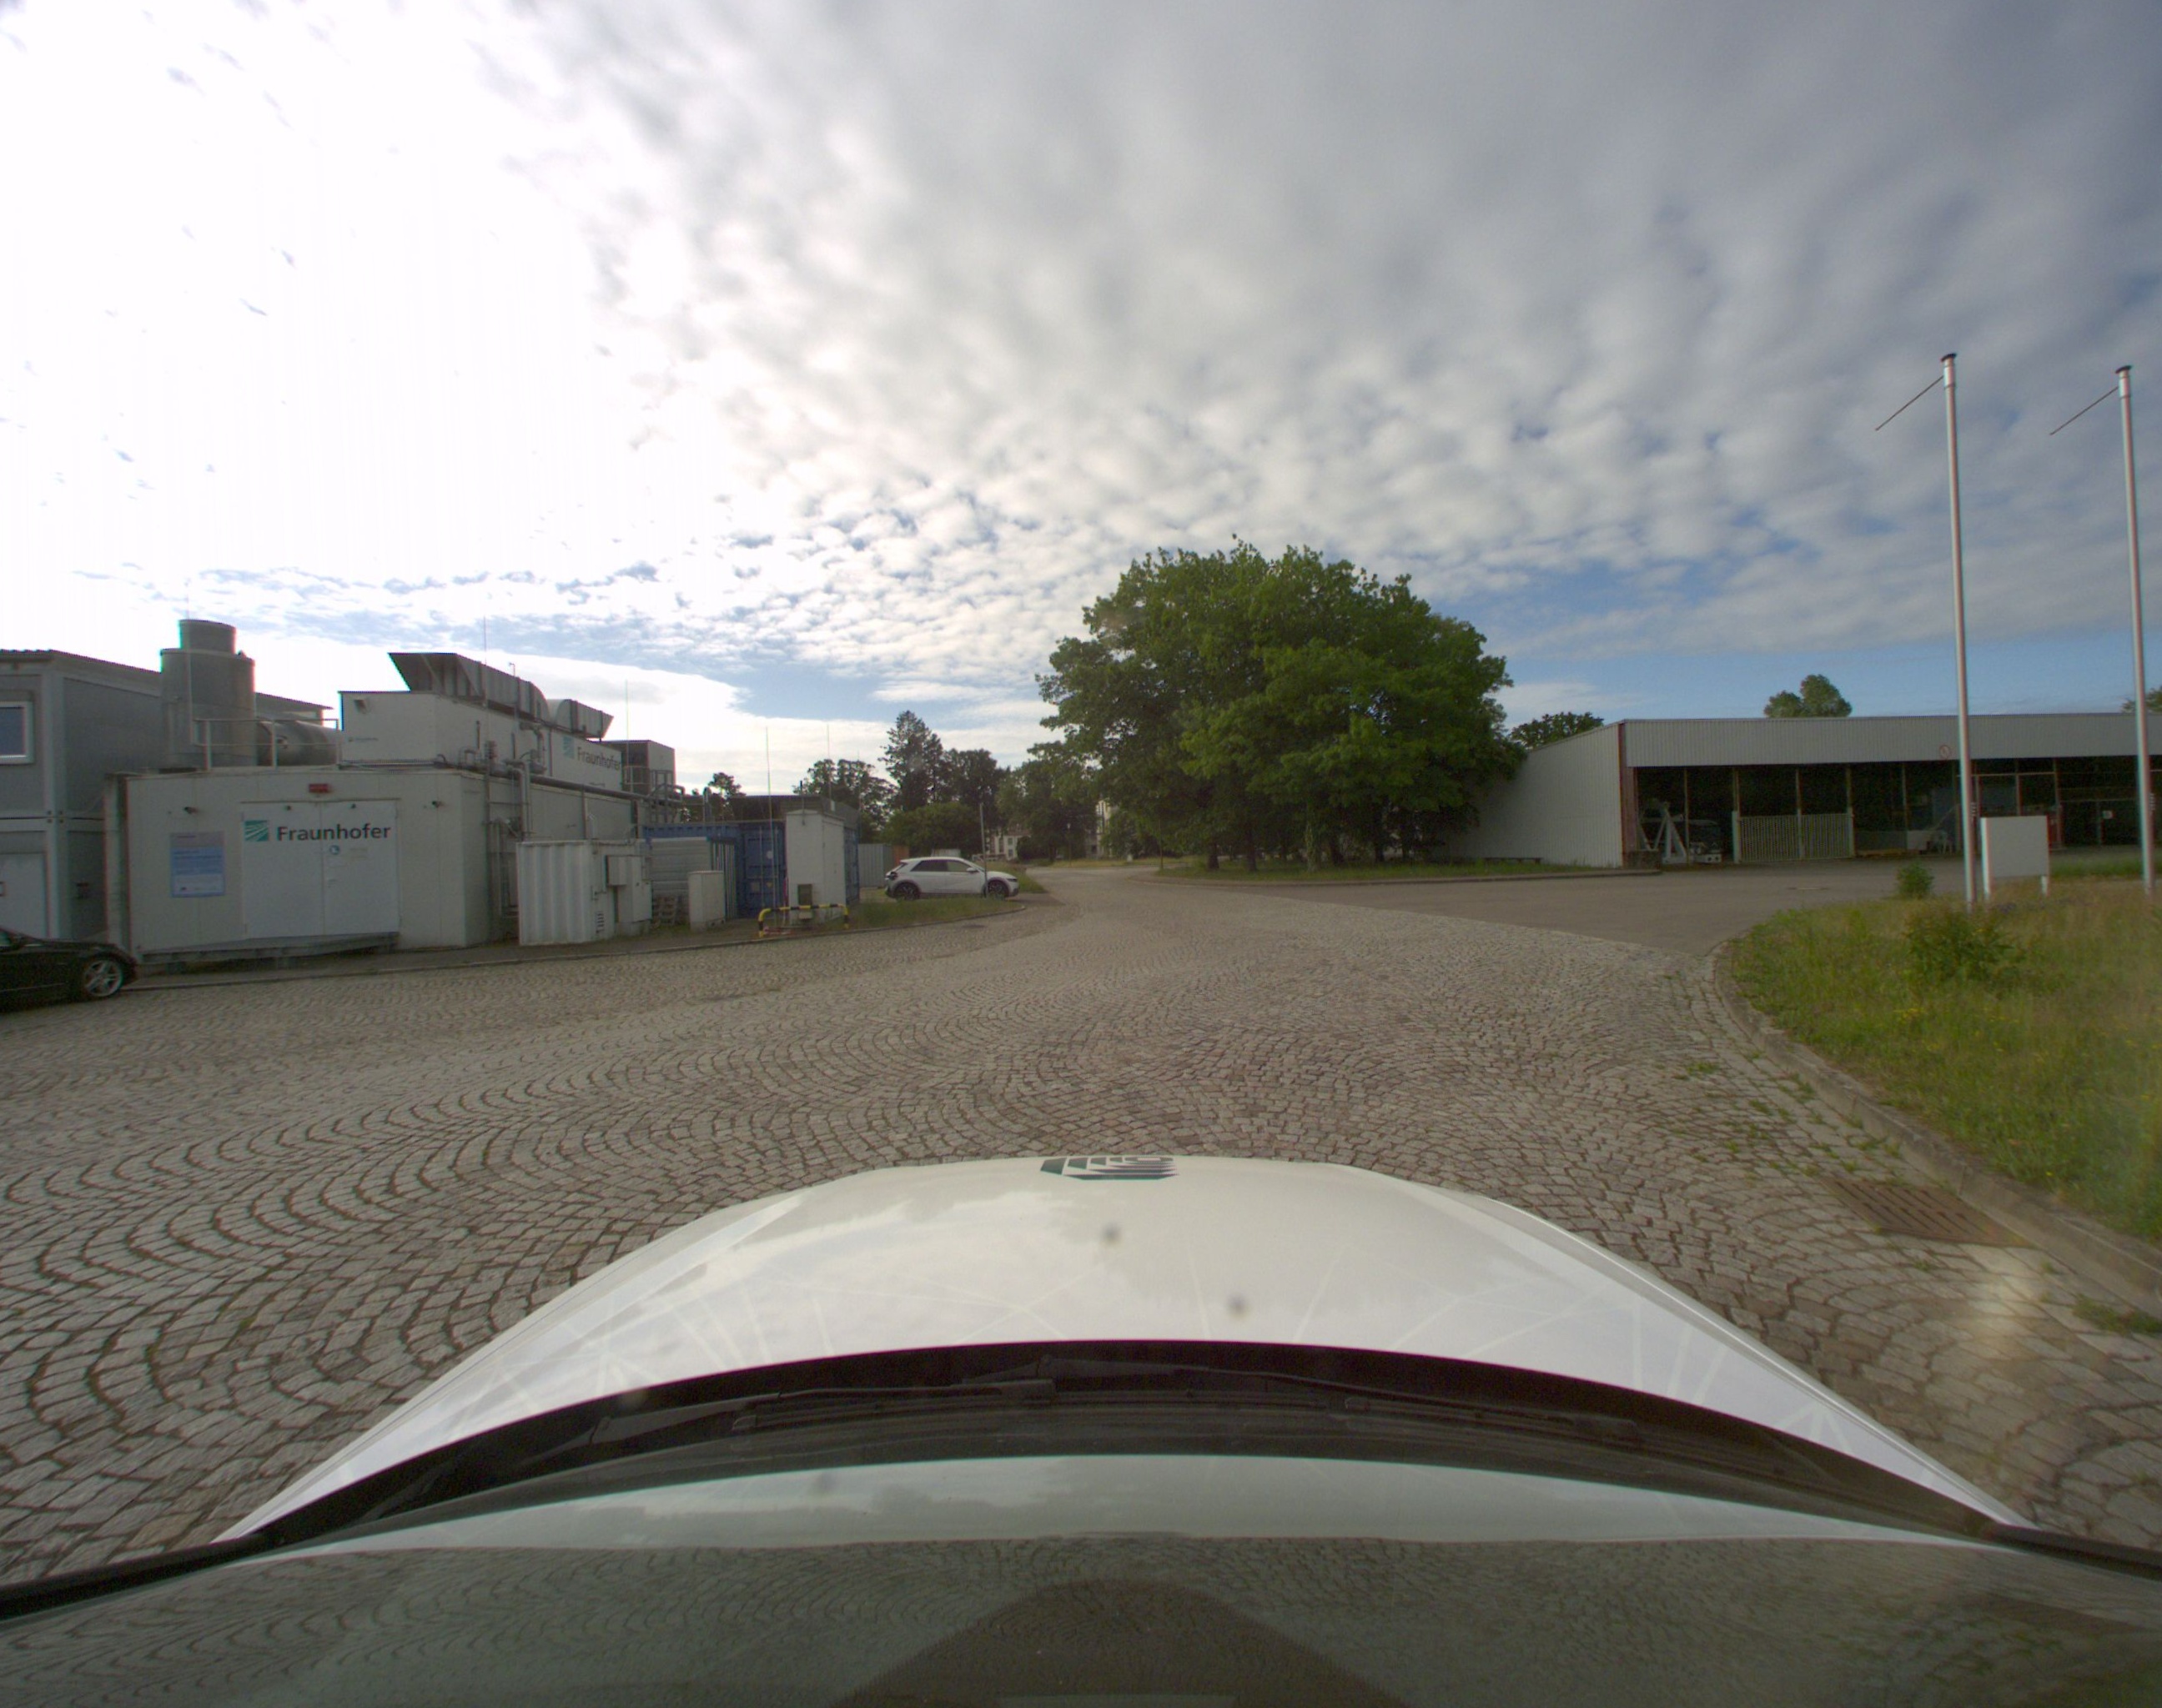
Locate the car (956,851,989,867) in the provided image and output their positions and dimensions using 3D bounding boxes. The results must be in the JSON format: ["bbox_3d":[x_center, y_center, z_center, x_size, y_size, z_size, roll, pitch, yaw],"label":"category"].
[{"bbox_3d":[-17.174,0.829,128.862,5.168,2.337,1.994,-2,0,-8],"label":"car"}]

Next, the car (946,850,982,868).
[{"bbox_3d":[-17.136,0.725,119.237,5.168,2.337,1.994,-2,0,-8],"label":"car"}]

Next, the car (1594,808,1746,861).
[{"bbox_3d":[25.367,-0.771,35.389,2.240,2.013,5.320,-2,0,-9],"label":"car"}]

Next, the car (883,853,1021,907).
[{"bbox_3d":[-4.387,0.886,28.338,4.527,1.599,1.996,-2,0,-6],"label":"car"}]

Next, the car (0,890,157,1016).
[{"bbox_3d":[-14.504,1.343,9.722,2.035,1.453,4.518,-2,1,-7],"label":"car"}]
